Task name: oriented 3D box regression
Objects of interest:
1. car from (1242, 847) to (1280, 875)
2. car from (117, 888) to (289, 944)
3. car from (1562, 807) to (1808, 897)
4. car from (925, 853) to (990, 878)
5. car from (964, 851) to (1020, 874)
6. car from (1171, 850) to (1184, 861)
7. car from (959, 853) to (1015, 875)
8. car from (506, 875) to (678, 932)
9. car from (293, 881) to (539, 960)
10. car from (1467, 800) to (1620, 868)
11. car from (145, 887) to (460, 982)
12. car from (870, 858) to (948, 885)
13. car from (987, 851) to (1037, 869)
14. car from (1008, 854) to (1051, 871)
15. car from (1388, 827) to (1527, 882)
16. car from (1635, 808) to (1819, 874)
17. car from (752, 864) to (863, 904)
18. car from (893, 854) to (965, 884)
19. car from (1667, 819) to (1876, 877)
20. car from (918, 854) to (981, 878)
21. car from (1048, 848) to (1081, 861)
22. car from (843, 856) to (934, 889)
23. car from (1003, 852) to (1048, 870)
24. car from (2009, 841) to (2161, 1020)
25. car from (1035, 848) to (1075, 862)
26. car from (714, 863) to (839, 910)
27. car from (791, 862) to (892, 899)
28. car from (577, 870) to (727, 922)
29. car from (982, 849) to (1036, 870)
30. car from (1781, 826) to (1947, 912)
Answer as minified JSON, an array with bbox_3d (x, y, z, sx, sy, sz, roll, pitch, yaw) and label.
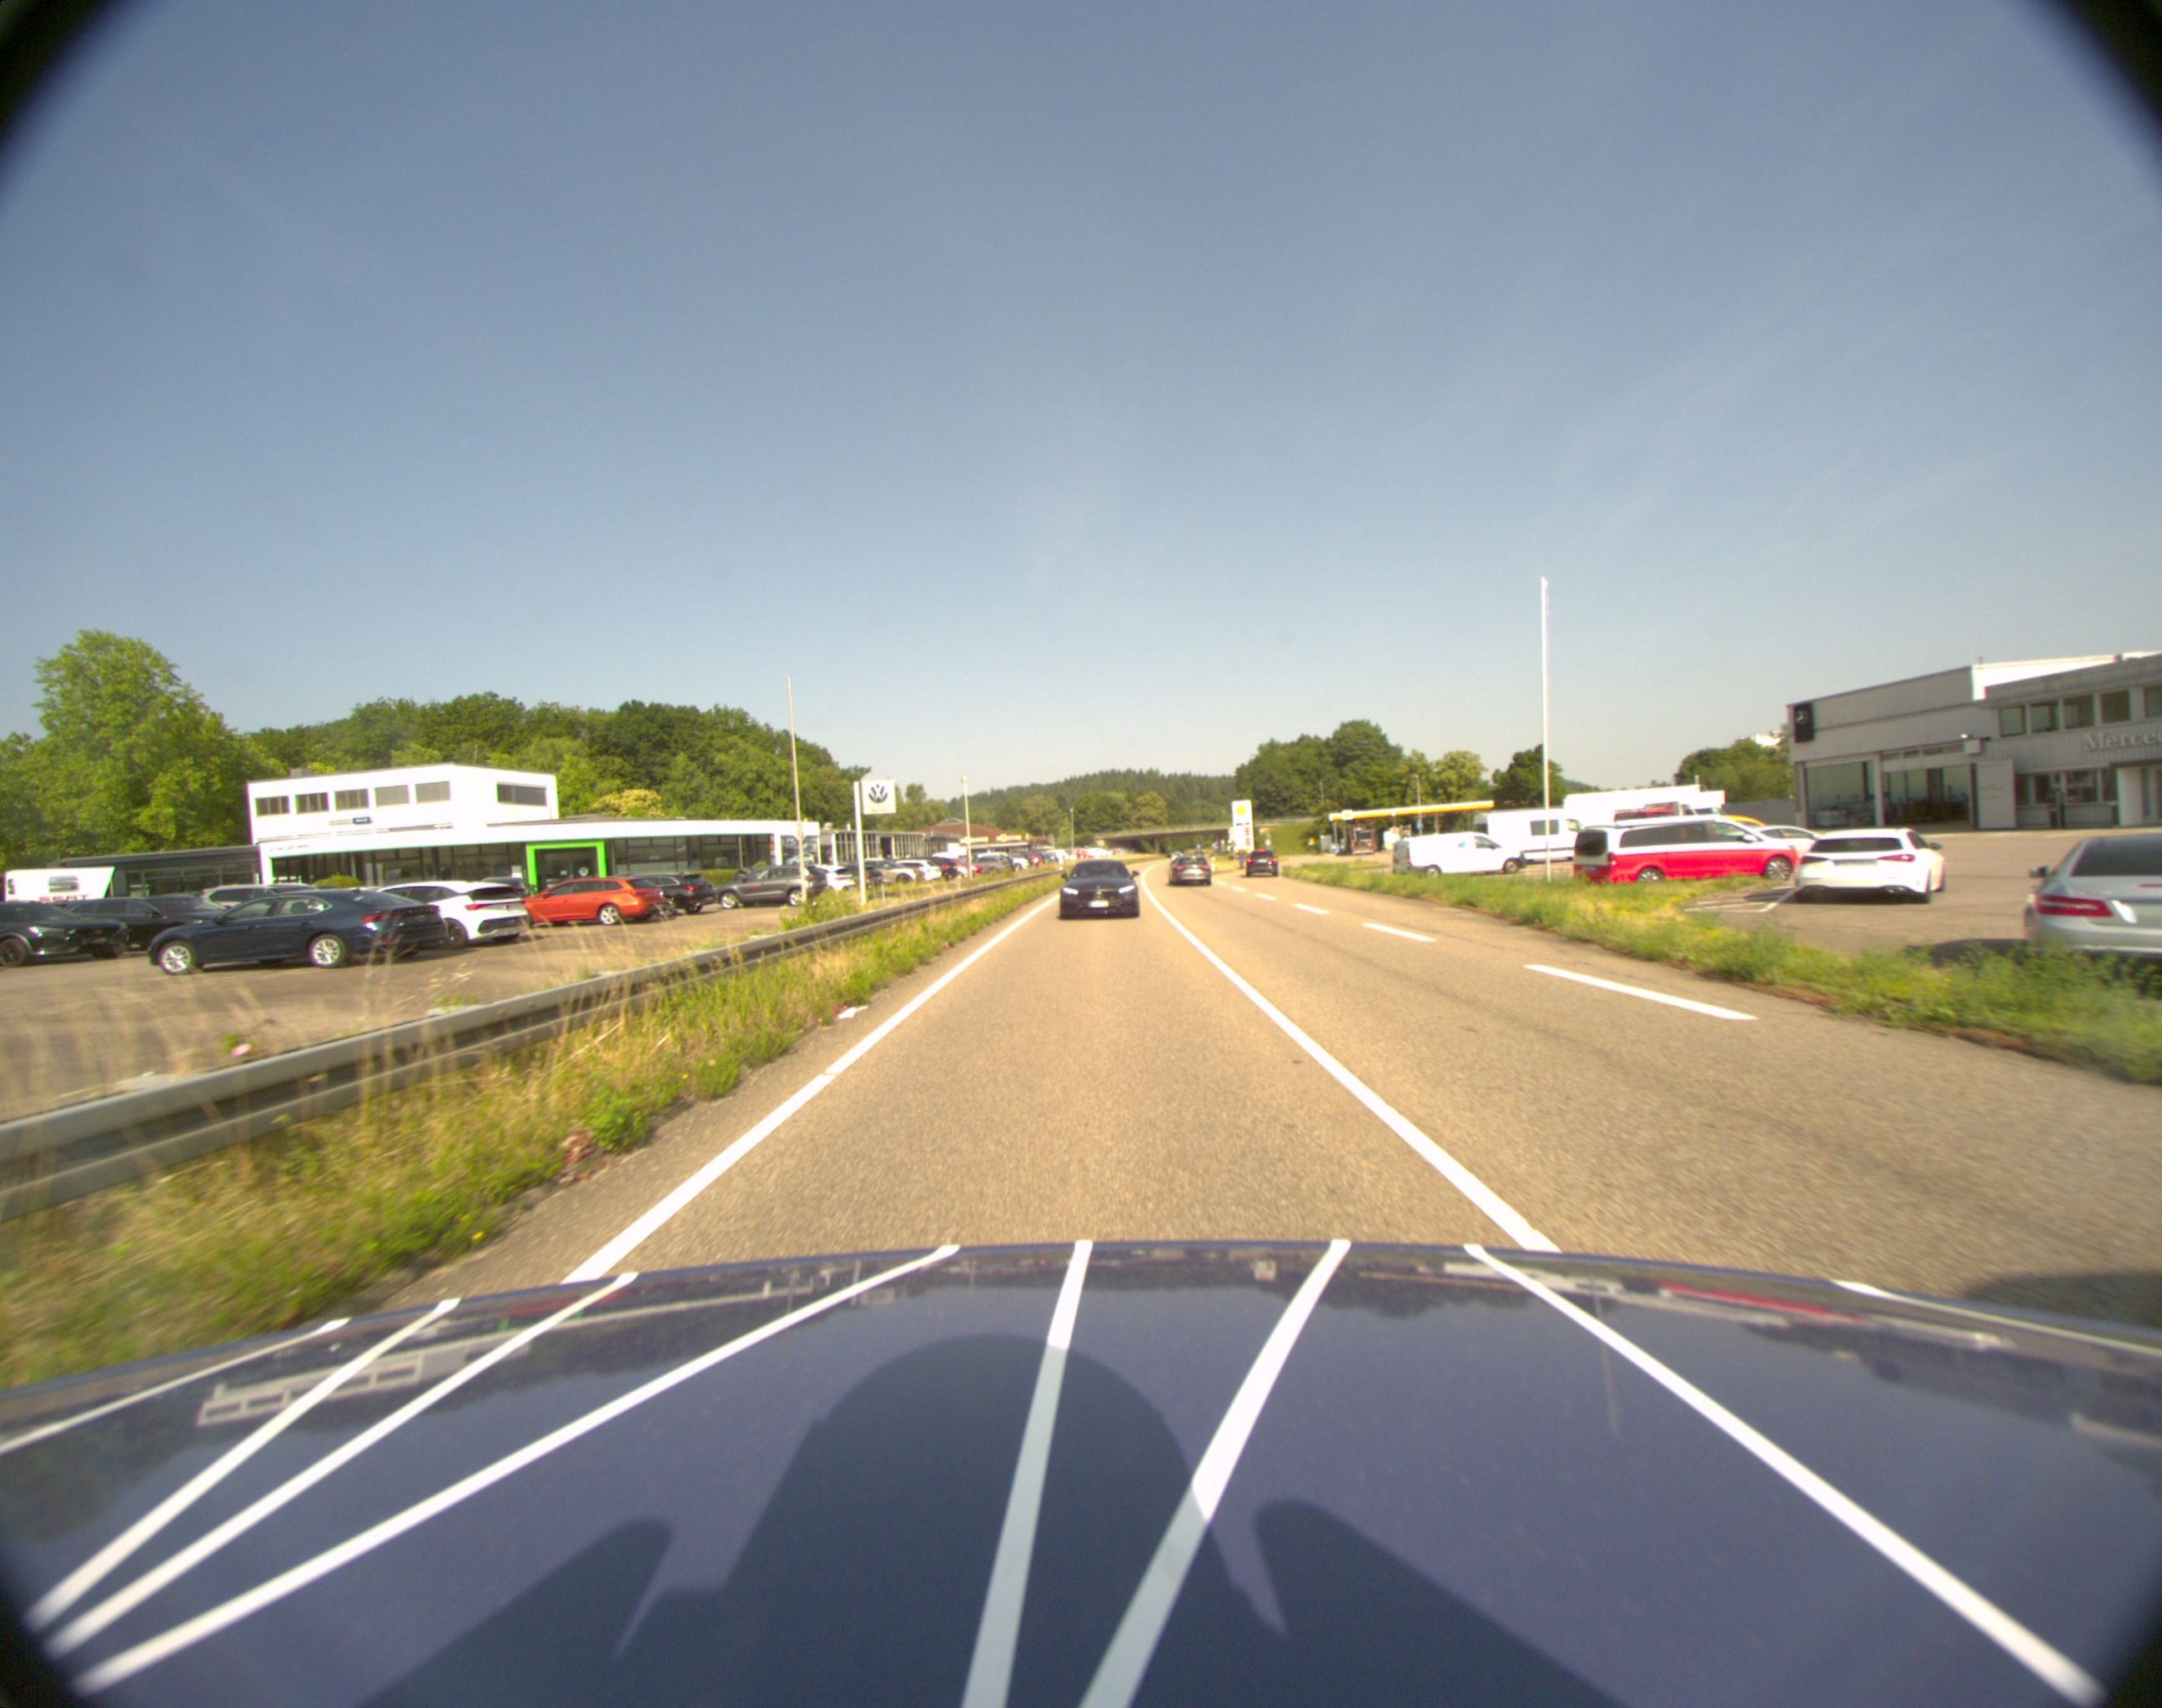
[{"bbox_3d":[10.926,0.471,46.326,1.815,1.620,4.545,-1,-2,8],"label":"car"},{"bbox_3d":[-31.292,2.127,27.330,2.005,1.537,4.602,-2,1,-20],"label":"car"},{"bbox_3d":[16.384,-0.047,20.855,4.803,1.970,2.229,-5,0,2],"label":"car"},{"bbox_3d":[-8.653,0.811,53.441,4.090,1.543,1.782,-2,1,8],"label":"car"},{"bbox_3d":[-7.042,0.633,60.593,3.994,1.622,1.922,-2,1,9],"label":"car"},{"bbox_3d":[13.448,0.263,105.809,1.680,1.464,3.709,-1,0,9],"label":"car"},{"bbox_3d":[-7.165,0.752,57.905,3.845,1.450,1.747,-2,1,9],"label":"car"},{"bbox_3d":[-14.723,1.462,23.018,3.996,1.437,1.825,-2,1,3],"label":"car"},{"bbox_3d":[-15.270,1.506,17.608,4.102,1.507,1.825,-2,1,3],"label":"car"},{"bbox_3d":[22.115,-0.921,36.531,5.734,2.729,2.286,-5,1,3],"label":"car"},{"bbox_3d":[-14.996,1.520,14.833,4.167,1.507,1.824,-2,1,-1],"label":"car"},{"bbox_3d":[-10.099,1.023,44.716,4.042,1.477,1.724,-2,1,12],"label":"car"},{"bbox_3d":[-6.094,0.508,67.222,3.995,1.444,1.951,-2,1,7],"label":"car"},{"bbox_3d":[-4.925,0.804,73.105,3.740,1.420,1.780,-2,1,7],"label":"car"},{"bbox_3d":[15.686,0.024,31.879,4.682,1.847,2.144,-4,0,2],"label":"car"},{"bbox_3d":[21.872,-0.427,25.866,4.391,1.797,2.001,-5,0,2],"label":"car"},{"bbox_3d":[-11.574,1.256,32.275,3.996,1.485,1.791,-2,1,4],"label":"car"},{"bbox_3d":[-9.442,0.929,47.290,3.885,1.654,1.841,-2,1,12],"label":"car"},{"bbox_3d":[21.019,-0.182,23.287,4.476,1.390,1.966,-4,0,2],"label":"car"},{"bbox_3d":[-8.751,0.820,50.760,3.738,1.450,1.665,-2,1,8],"label":"car"},{"bbox_3d":[-2.178,0.045,100.503,3.994,1.543,1.807,-2,1,9],"label":"car"},{"bbox_3d":[-10.610,1.005,41.986,4.457,1.591,1.855,-2,1,4],"label":"car"},{"bbox_3d":[-5.077,0.628,69.888,3.738,1.398,1.824,-2,1,7],"label":"car"},{"bbox_3d":[10.649,0.601,7.440,4.402,1.359,1.849,-2,0,-38],"label":"car"},{"bbox_3d":[-2.987,0.163,88.171,4.356,1.486,1.881,-2,1,10],"label":"car"},{"bbox_3d":[-11.837,1.248,29.691,4.086,1.600,1.792,-2,1,1],"label":"car"},{"bbox_3d":[-10.901,1.202,34.735,3.995,1.485,1.731,-2,1,7],"label":"car"},{"bbox_3d":[-14.531,1.405,25.870,3.996,1.477,1.842,-2,1,3],"label":"car"},{"bbox_3d":[-6.038,0.460,63.847,3.993,1.622,1.922,-2,1,12],"label":"car"},{"bbox_3d":[16.117,0.250,15.586,4.237,1.395,1.893,-4,1,-38],"label":"car"}]
